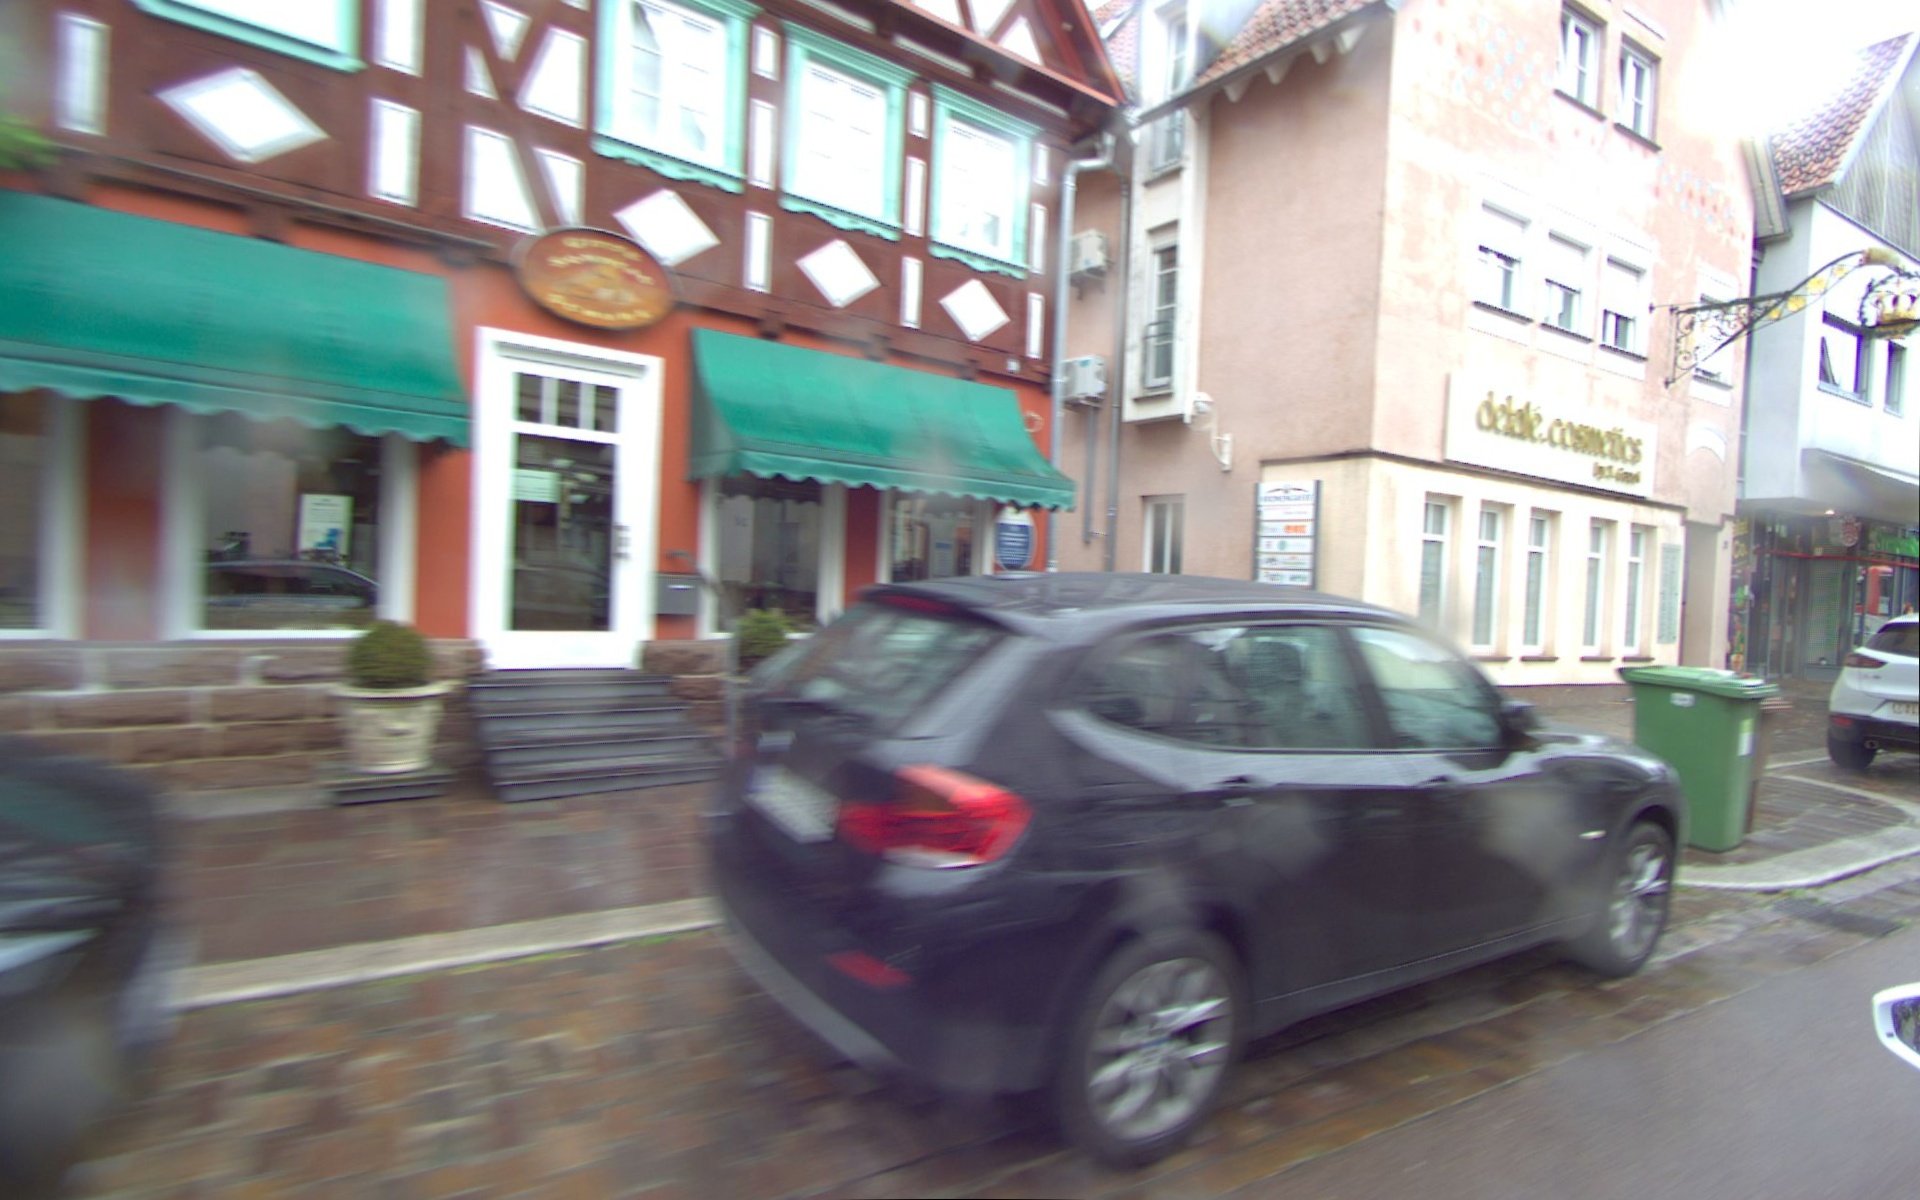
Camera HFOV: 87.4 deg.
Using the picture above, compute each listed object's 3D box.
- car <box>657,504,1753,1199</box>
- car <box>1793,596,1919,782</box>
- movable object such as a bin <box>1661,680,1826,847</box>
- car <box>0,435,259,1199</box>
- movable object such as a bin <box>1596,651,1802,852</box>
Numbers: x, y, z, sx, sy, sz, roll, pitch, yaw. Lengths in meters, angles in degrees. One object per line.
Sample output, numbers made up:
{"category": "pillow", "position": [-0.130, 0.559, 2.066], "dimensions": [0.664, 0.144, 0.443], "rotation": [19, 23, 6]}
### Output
{"category": "car", "position": [1.171, 0.635, 4.057], "dimensions": [4.234, 1.572, 1.823], "rotation": [2, 0, -32]}
{"category": "car", "position": [10.034, 0.856, 9.661], "dimensions": [3.953, 1.587, 1.818], "rotation": [2, 0, -30]}
{"category": "movable object such as a bin", "position": [5.123, 1.036, 6.582], "dimensions": [0.555, 0.968, 0.654], "rotation": [2, 0, -28]}
{"category": "car", "position": [-3.646, 0.507, 1.149], "dimensions": [4.490, 1.697, 1.823], "rotation": [2, 0, -32]}
{"category": "movable object such as a bin", "position": [4.557, 0.894, 6.216], "dimensions": [0.754, 1.097, 0.744], "rotation": [2, 0, -28]}
